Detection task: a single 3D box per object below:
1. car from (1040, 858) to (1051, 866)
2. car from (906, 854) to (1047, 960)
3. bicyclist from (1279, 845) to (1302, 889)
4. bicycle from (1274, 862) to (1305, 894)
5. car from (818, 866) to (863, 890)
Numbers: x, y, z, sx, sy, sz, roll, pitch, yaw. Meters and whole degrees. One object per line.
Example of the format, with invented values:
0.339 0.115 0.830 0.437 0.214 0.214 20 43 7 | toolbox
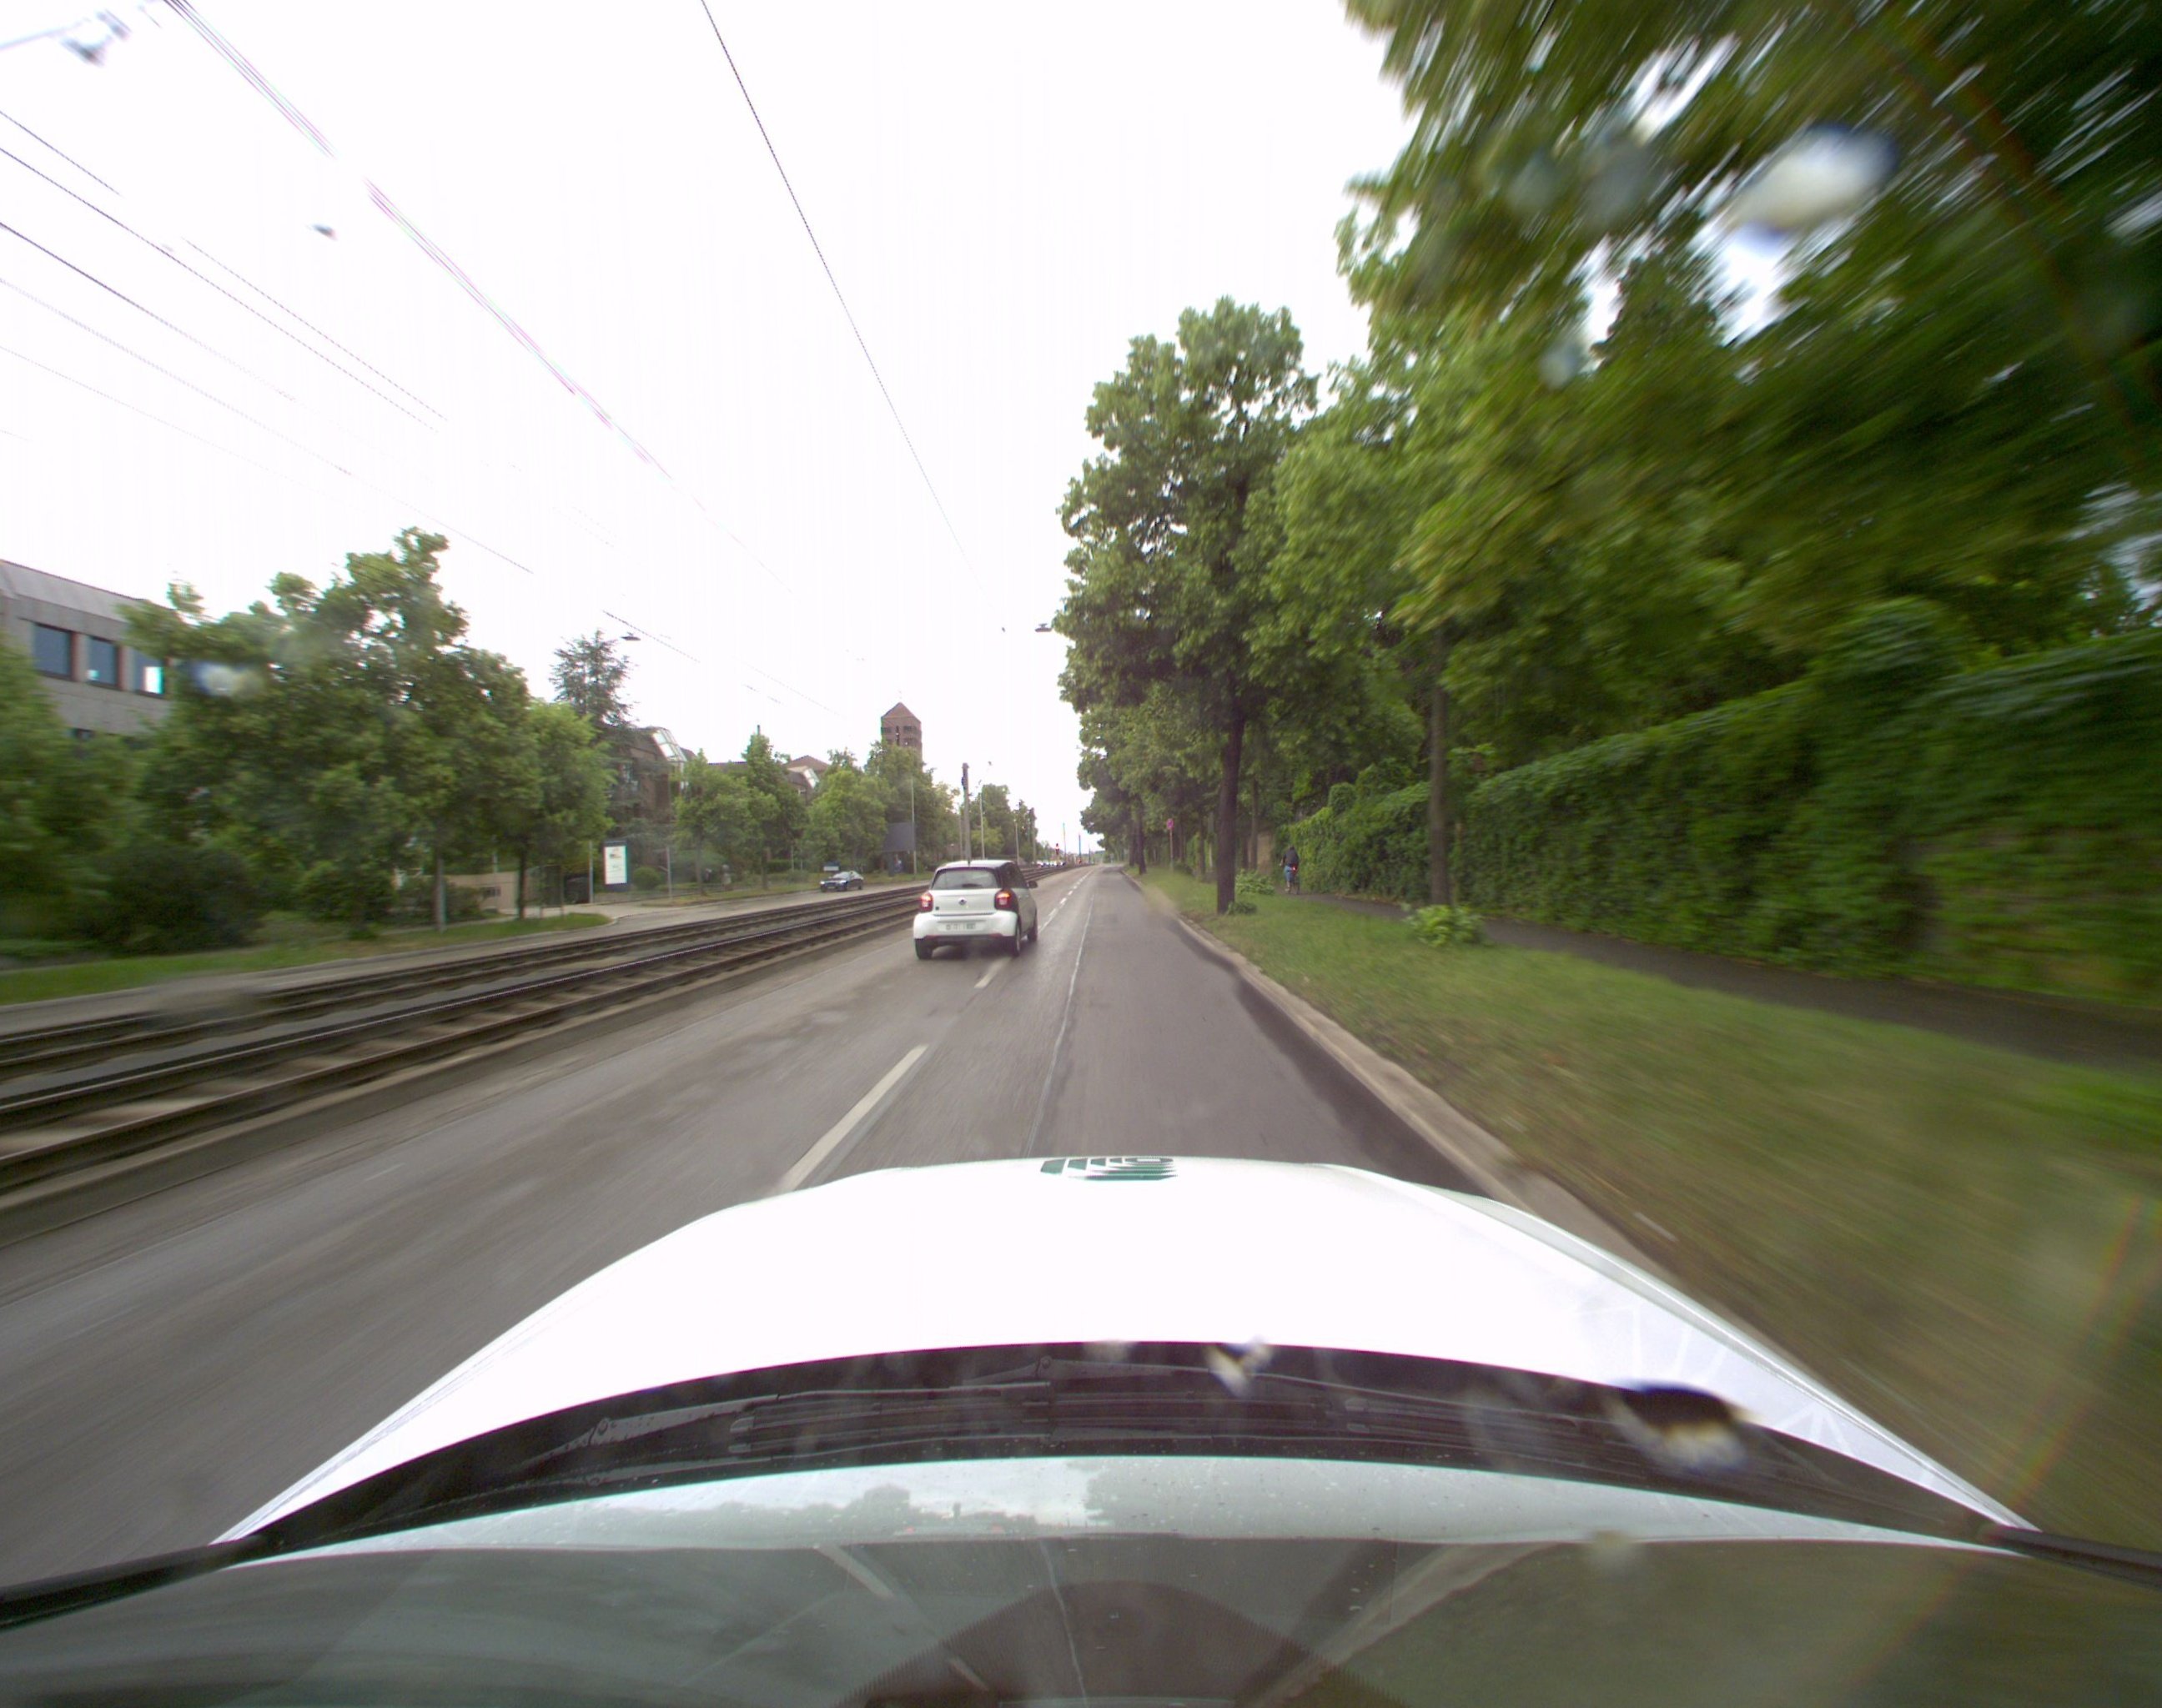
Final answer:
-8.477 1.903 195.637 2.003 1.656 4.624 -3 0 6 | car
-1.669 0.819 14.212 1.668 1.531 3.725 -3 -1 4 | car
6.801 0.416 26.482 0.532 1.389 0.667 -3 0 4 | bicyclist
6.848 0.756 26.841 0.540 0.948 2.553 -3 0 5 | bicycle
-17.411 1.725 59.224 1.788 1.530 4.622 -3 0 0 | car
